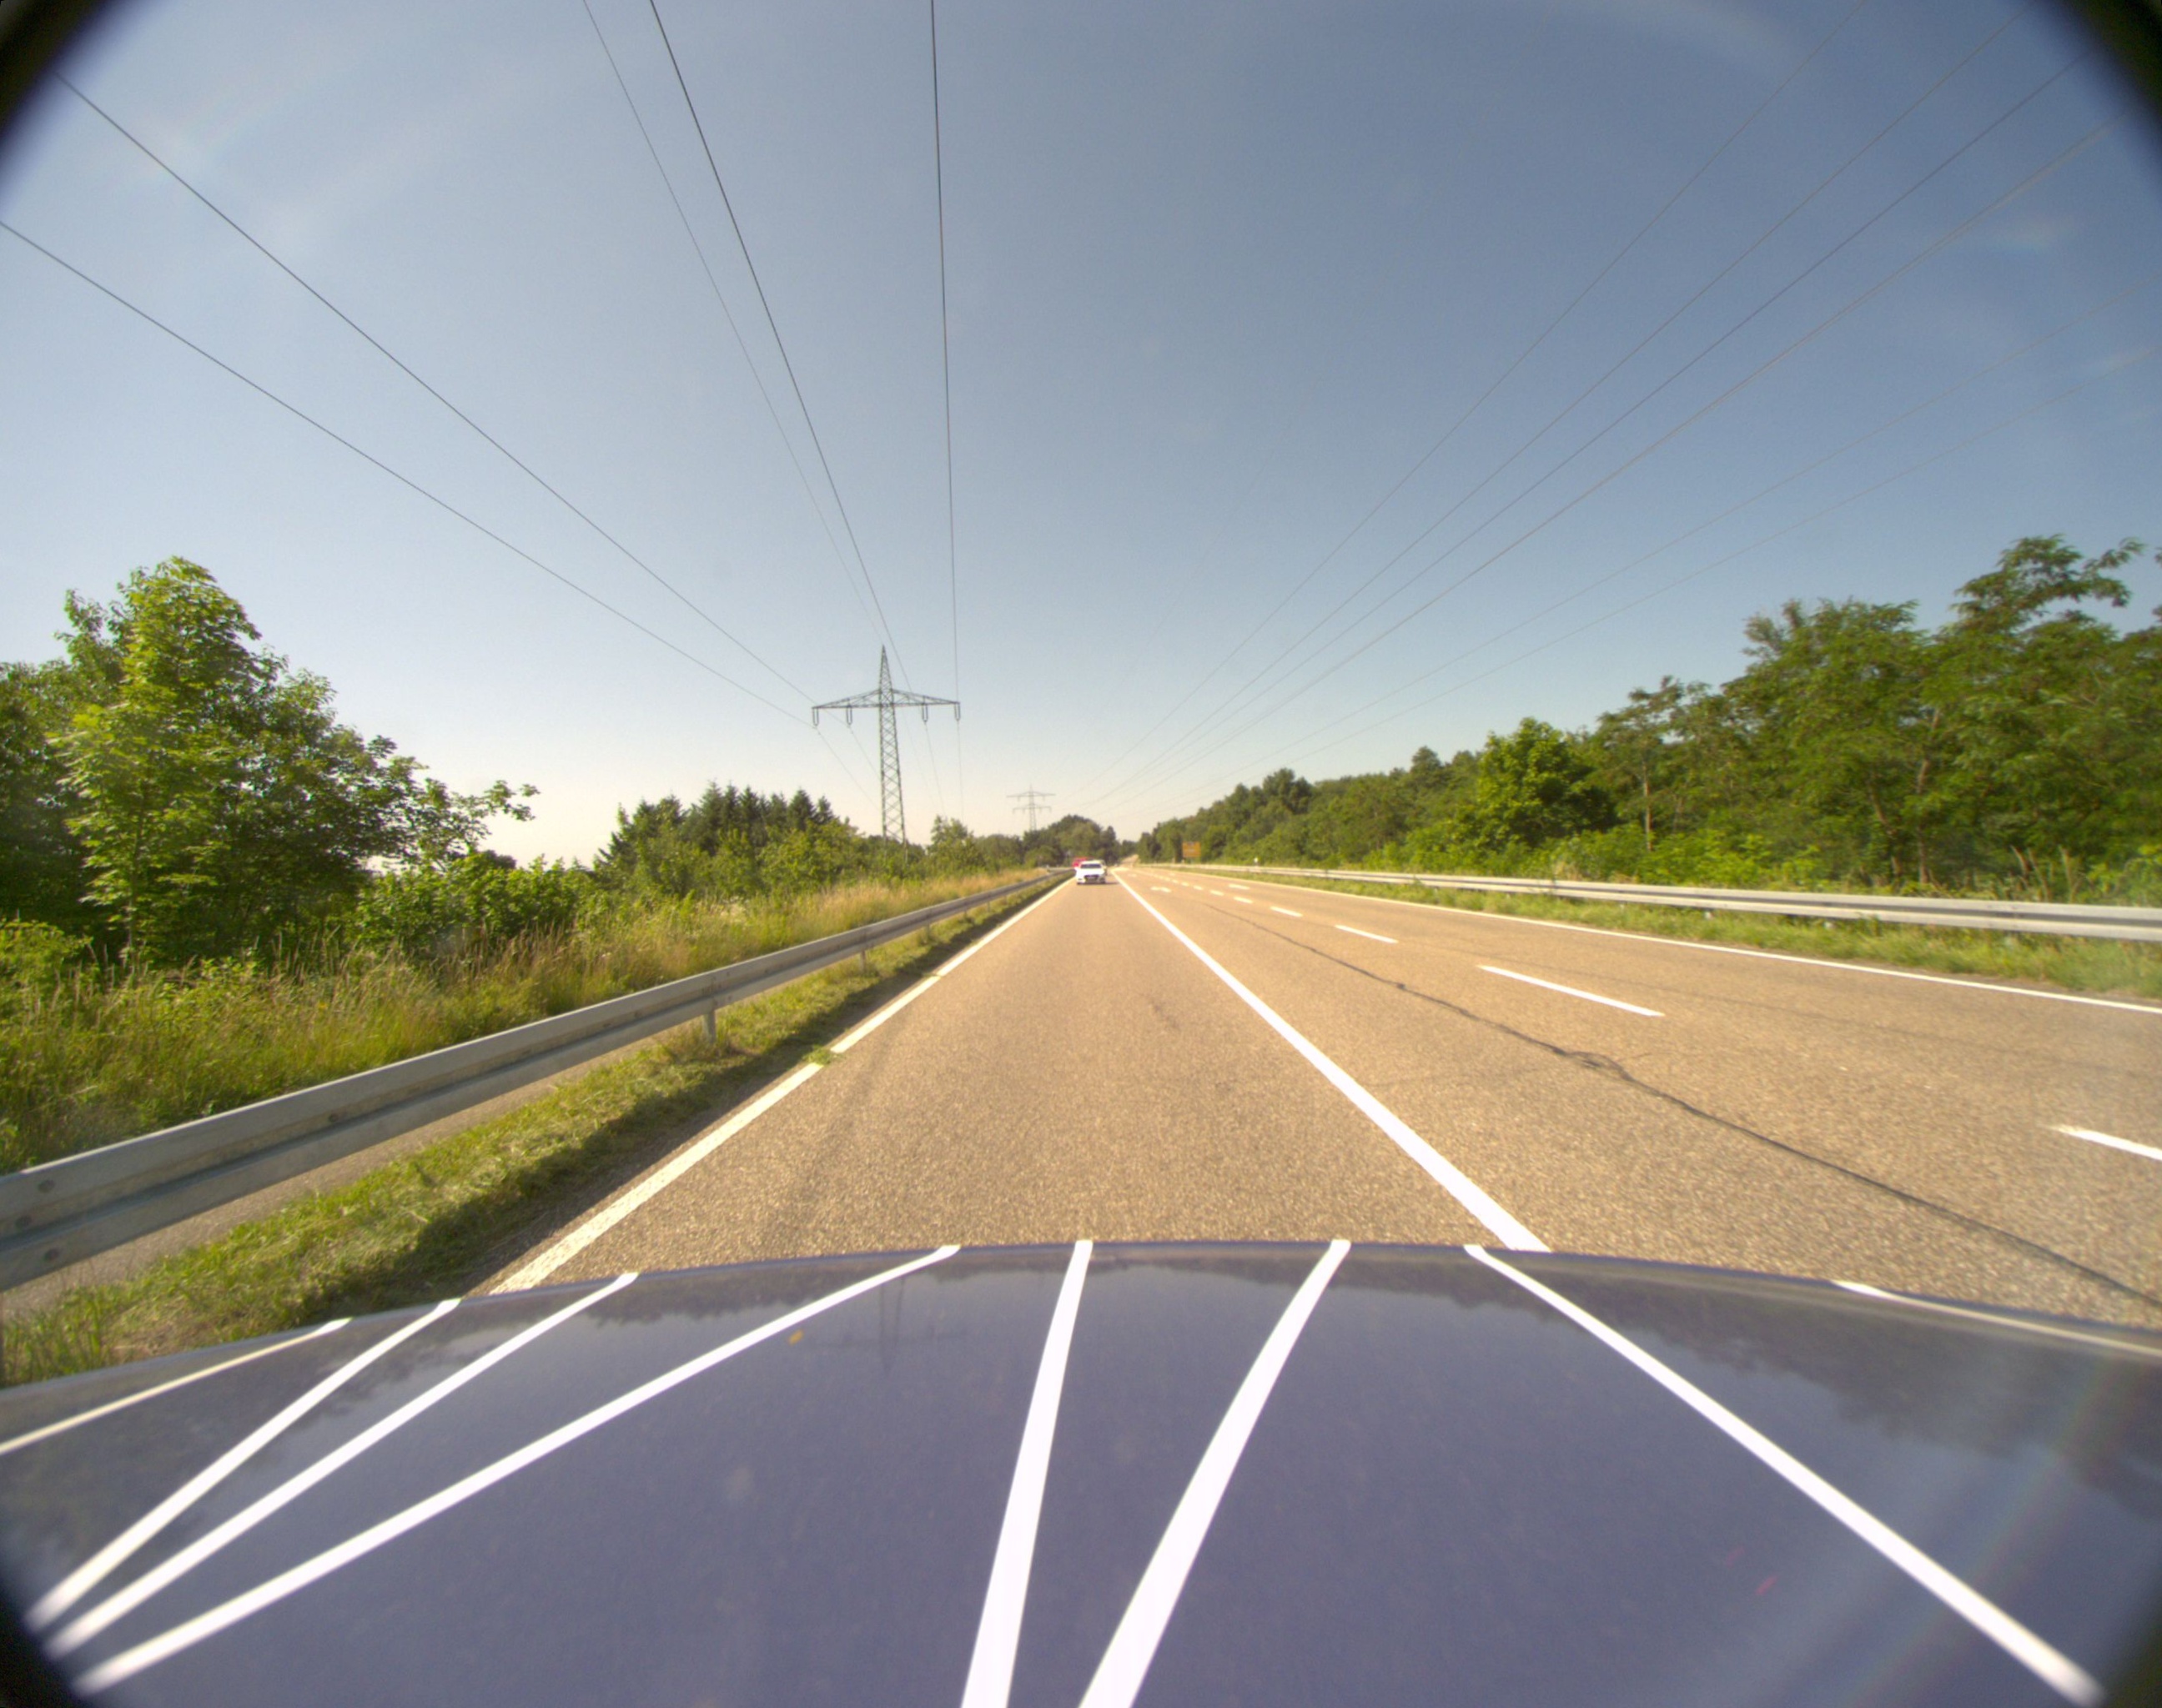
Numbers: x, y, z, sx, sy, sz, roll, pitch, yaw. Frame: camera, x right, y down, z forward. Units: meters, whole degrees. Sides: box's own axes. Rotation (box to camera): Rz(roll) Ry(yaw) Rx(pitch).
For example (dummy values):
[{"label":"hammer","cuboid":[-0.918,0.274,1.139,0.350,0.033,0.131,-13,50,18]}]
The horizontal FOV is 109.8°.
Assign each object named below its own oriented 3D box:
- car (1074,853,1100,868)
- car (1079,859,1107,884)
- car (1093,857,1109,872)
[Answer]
[{"label":"car","cuboid":[0.761,0.899,105.210,1.798,1.892,4.829,-1,0,-22]},{"label":"car","cuboid":[0.759,1.095,49.012,1.683,1.471,4.473,-1,0,1]},{"label":"car","cuboid":[2.009,1.054,77.271,1.549,1.460,3.661,-2,0,0]}]
